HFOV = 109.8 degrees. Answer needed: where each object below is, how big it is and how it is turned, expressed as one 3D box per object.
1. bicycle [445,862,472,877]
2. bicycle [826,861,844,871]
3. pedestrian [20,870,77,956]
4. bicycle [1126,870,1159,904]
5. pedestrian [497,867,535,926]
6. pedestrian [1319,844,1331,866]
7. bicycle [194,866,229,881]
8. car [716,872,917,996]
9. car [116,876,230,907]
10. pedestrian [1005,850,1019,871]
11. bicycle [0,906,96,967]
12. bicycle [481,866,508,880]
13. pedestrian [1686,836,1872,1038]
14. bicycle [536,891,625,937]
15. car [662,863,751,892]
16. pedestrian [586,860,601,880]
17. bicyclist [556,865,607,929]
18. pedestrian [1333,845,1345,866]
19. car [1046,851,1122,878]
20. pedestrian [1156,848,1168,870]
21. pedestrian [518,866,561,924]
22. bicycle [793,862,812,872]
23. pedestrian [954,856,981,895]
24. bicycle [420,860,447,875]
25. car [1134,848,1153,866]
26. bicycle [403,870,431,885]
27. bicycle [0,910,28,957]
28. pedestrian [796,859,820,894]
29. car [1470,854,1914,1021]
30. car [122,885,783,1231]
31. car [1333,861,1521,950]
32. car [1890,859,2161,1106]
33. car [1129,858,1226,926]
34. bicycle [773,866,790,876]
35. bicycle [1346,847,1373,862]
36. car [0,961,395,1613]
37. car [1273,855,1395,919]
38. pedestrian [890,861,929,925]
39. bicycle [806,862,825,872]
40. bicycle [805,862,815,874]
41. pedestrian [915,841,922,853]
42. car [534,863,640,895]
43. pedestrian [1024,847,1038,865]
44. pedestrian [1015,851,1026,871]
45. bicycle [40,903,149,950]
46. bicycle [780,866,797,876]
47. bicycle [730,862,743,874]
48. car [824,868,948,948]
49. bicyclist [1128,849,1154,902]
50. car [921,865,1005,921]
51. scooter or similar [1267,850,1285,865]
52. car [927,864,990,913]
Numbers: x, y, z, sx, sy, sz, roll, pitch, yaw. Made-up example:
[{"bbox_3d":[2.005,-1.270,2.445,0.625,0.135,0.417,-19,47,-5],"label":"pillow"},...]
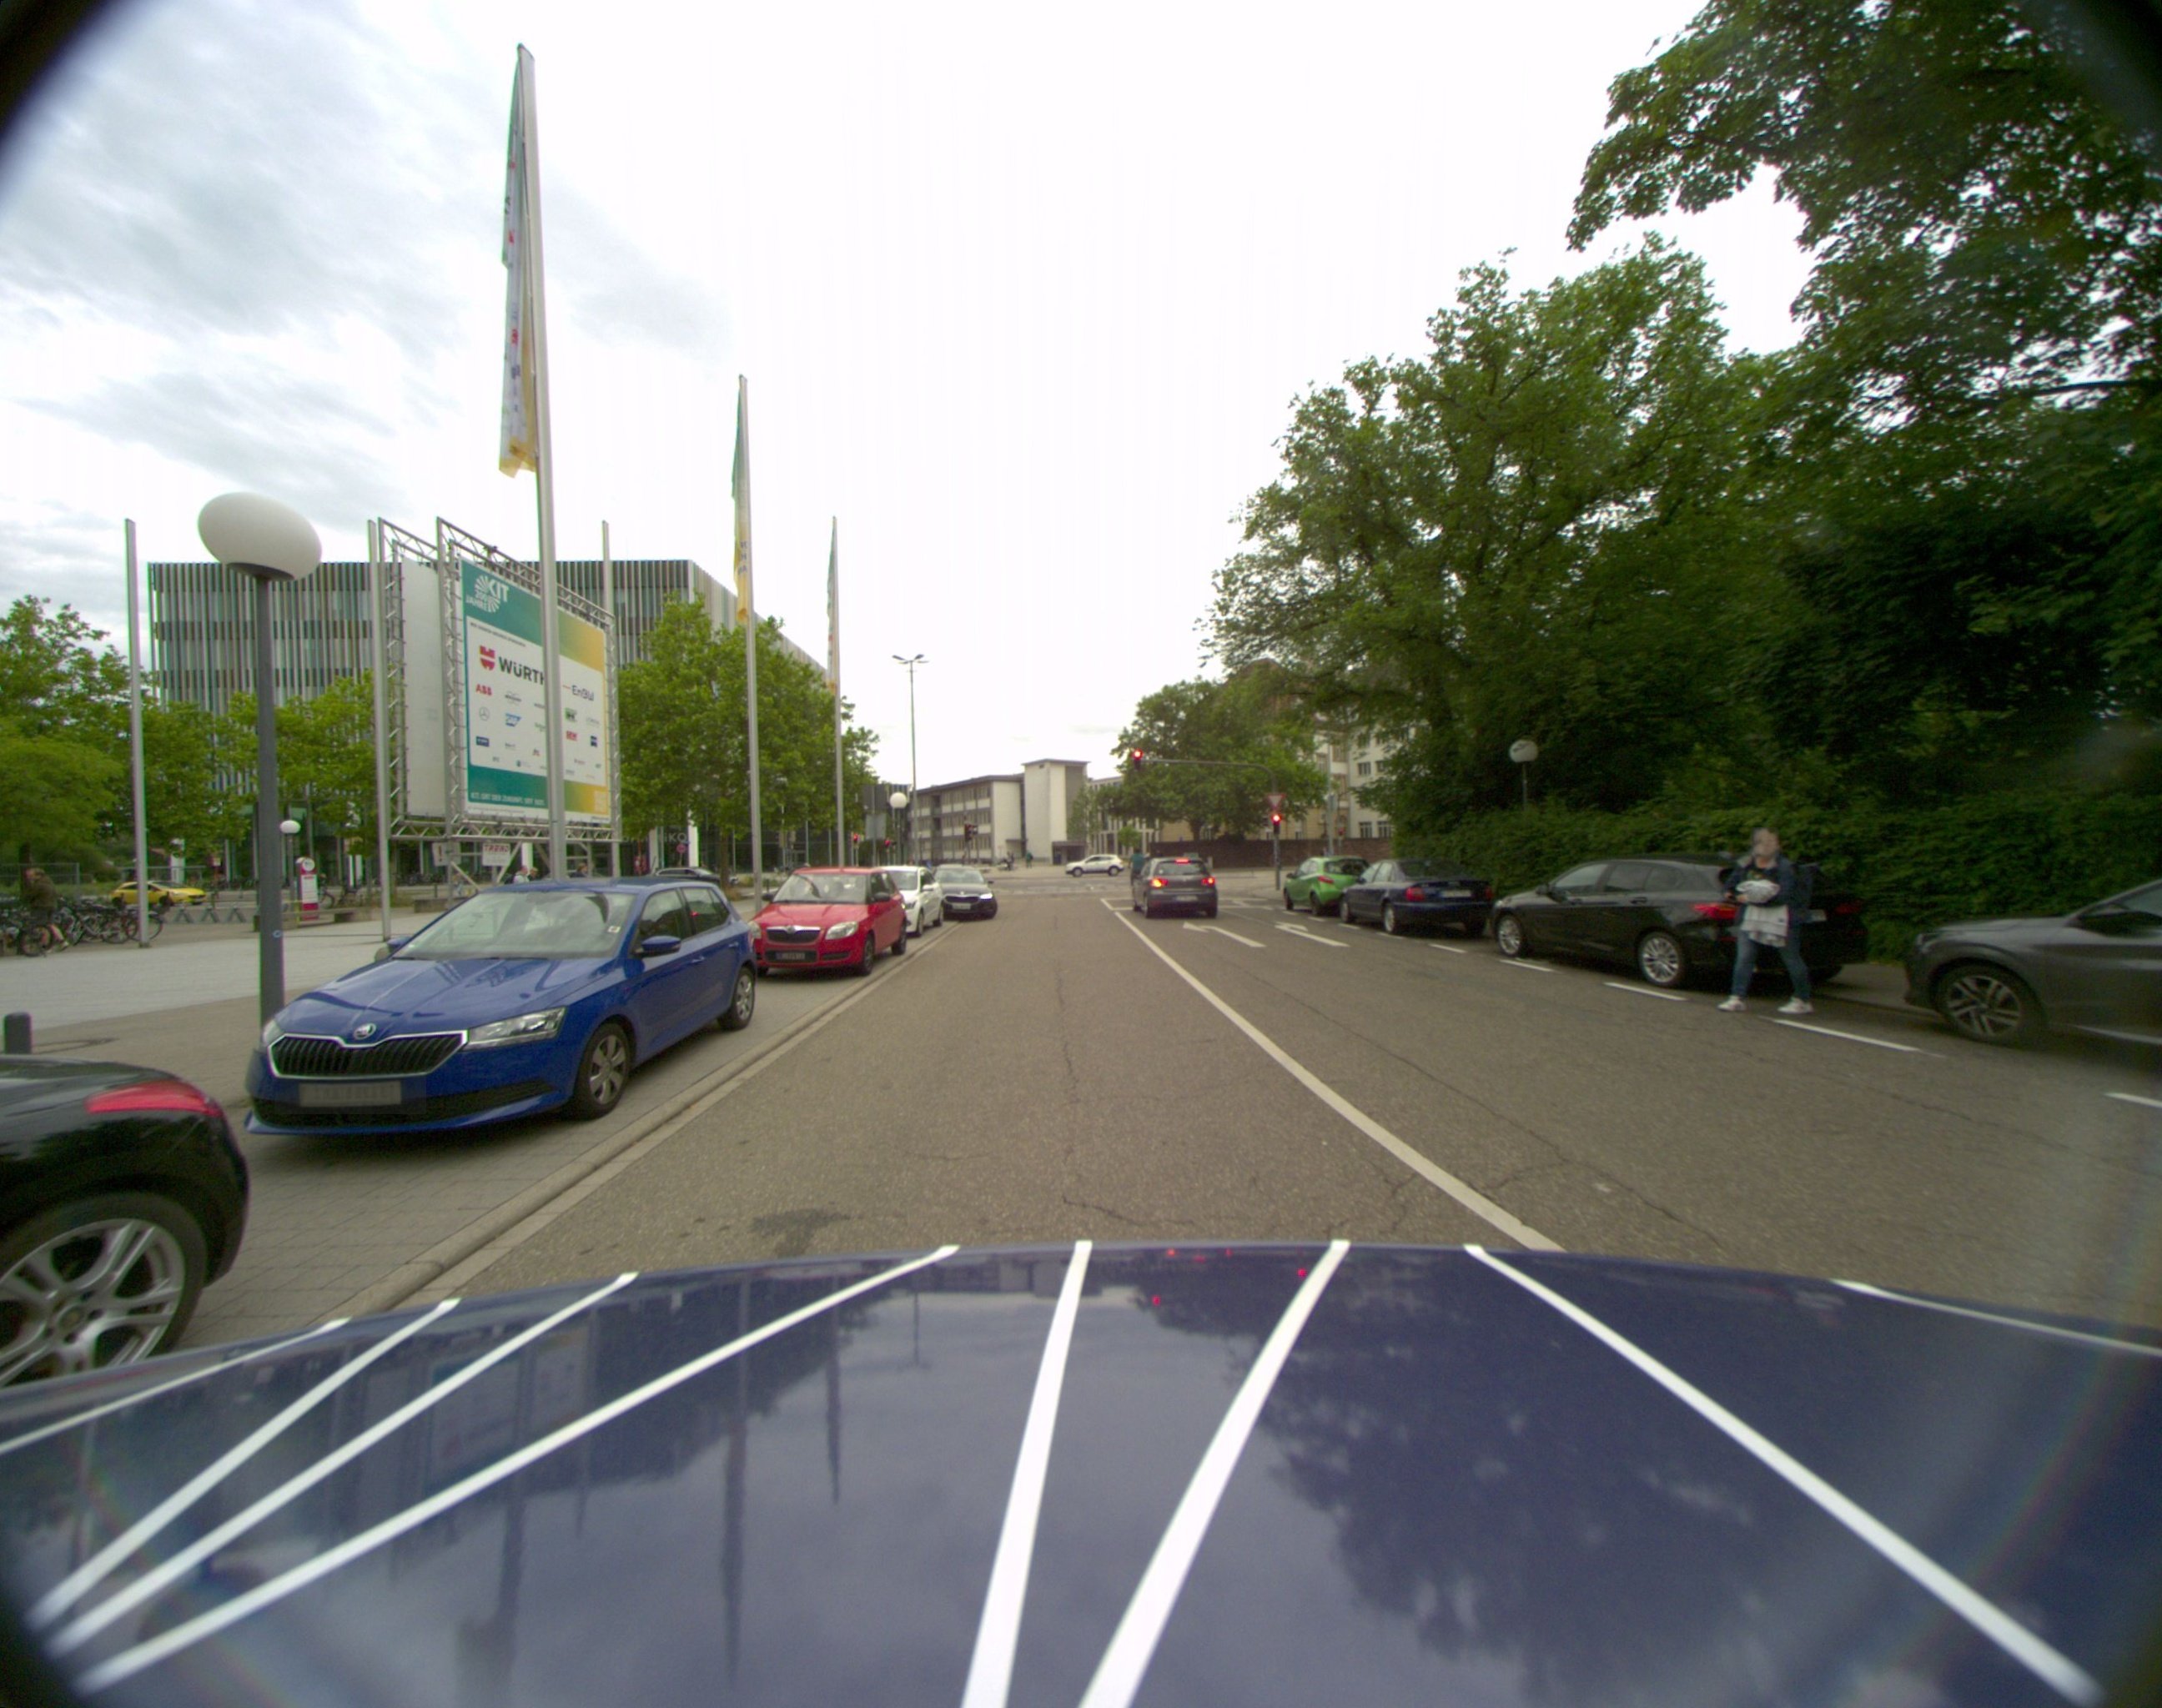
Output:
[{"bbox_3d":[-54.296,1.368,66.283,0.628,1.251,2.104,-3,-2,-4],"label":"bicycle"},{"bbox_3d":[-24.267,1.161,74.951,2.004,0.931,0.485,0,2,30],"label":"bicycle"},{"bbox_3d":[-22.816,1.281,16.803,0.510,1.823,0.675,0,1,38],"label":"pedestrian"},{"bbox_3d":[2.075,1.105,25.794,0.659,1.031,1.856,-1,1,-9],"label":"bicycle"},{"bbox_3d":[-16.799,1.260,22.603,0.657,1.705,0.586,-1,1,13],"label":"pedestrian"},{"bbox_3d":[19.720,0.087,61.360,0.670,1.729,0.735,-1,2,-5],"label":"pedestrian"},{"bbox_3d":[-74.244,1.651,64.922,0.628,1.251,2.104,-3,-2,-4],"label":"bicycle"},{"bbox_3d":[-3.769,1.058,11.662,1.717,1.464,4.273,1,0,-2],"label":"car"},{"bbox_3d":[-52.653,2.144,44.116,4.190,1.608,2.000,-2,0,1],"label":"car"},{"bbox_3d":[-6.050,0.557,66.699,0.848,1.778,0.892,-2,1,-44],"label":"pedestrian"},{"bbox_3d":[-21.738,1.682,15.462,0.457,1.162,2.413,-2,-2,-6],"label":"bicycle"},{"bbox_3d":[-51.354,1.673,66.504,0.628,1.251,2.105,-3,-2,3],"label":"bicycle"},{"bbox_3d":[6.123,0.686,6.734,0.740,1.652,0.968,-1,0,0],"label":"pedestrian"},{"bbox_3d":[-13.471,1.583,20.496,0.874,1.087,1.805,-2,0,40],"label":"bicycle"},{"bbox_3d":[-22.240,1.365,45.252,4.290,1.481,1.999,-2,1,-2],"label":"car"},{"bbox_3d":[-44.663,1.467,69.631,0.762,1.778,0.802,-1,1,-1],"label":"pedestrian"},{"bbox_3d":[-13.476,1.144,20.498,0.874,1.631,0.870,-2,0,40],"label":"bicyclist"},{"bbox_3d":[20.717,0.094,61.081,0.642,1.684,0.779,-2,2,-5],"label":"pedestrian"},{"bbox_3d":[0.186,0.783,56.102,5.372,1.687,2.047,-2,-2,-6],"label":"car"},{"bbox_3d":[6.616,0.412,62.079,0.809,1.654,0.791,-2,-3,-7],"label":"pedestrian"},{"bbox_3d":[-16.773,1.255,23.552,0.672,1.706,0.679,-3,2,9],"label":"pedestrian"},{"bbox_3d":[-26.460,1.245,72.127,2.004,0.931,0.485,0,2,30],"label":"bicycle"},{"bbox_3d":[-4.778,0.894,31.952,1.044,1.610,0.657,-2,1,-14],"label":"pedestrian"},{"bbox_3d":[-56.418,1.190,66.181,0.628,1.251,2.104,-3,-2,-4],"label":"bicycle"},{"bbox_3d":[8.243,0.447,100.345,1.998,1.570,4.411,-9,-8,8],"label":"car"},{"bbox_3d":[-57.468,2.048,65.771,0.628,1.251,2.103,-1,0,-3],"label":"bicycle"},{"bbox_3d":[-24.599,1.817,16.775,0.457,1.043,1.933,-1,0,-16],"label":"bicycle"},{"bbox_3d":[-13.172,1.076,36.700,0.756,1.617,0.794,-1,1,12],"label":"pedestrian"},{"bbox_3d":[7.003,0.811,9.520,1.802,1.551,4.529,-1,0,-2],"label":"car"},{"bbox_3d":[-3.834,1.054,5.831,1.700,1.403,4.374,-1,0,-5],"label":"car"},{"bbox_3d":[6.513,0.885,14.891,1.802,1.400,4.336,-1,0,2],"label":"car"},{"bbox_3d":[7.503,0.799,4.280,1.766,1.463,3.823,-1,0,-2],"label":"car"},{"bbox_3d":[2.358,0.882,19.563,1.788,1.488,4.166,-1,0,-2],"label":"car"},{"bbox_3d":[-28.066,1.598,71.104,2.004,0.930,0.485,-1,1,38],"label":"bicycle"},{"bbox_3d":[23.551,0.024,64.255,2.156,1.178,0.582,-1,2,-10],"label":"bicycle"},{"bbox_3d":[-3.515,1.100,0.661,1.853,1.433,4.419,-2,-1,-1],"label":"car"},{"bbox_3d":[6.561,0.790,20.192,1.802,1.461,4.248,-1,0,0],"label":"car"},{"bbox_3d":[-4.951,1.120,21.987,0.792,1.777,0.822,-1,1,10],"label":"pedestrian"},{"bbox_3d":[-25.545,1.238,73.121,2.004,0.931,0.485,0,2,30],"label":"bicycle"},{"bbox_3d":[-23.324,1.191,65.408,0.484,1.039,1.779,-2,1,-30],"label":"bicycle"},{"bbox_3d":[-24.592,-1.004,114.805,0.777,1.778,0.759,-2,1,-34],"label":"pedestrian"},{"bbox_3d":[-29.348,1.487,45.258,4.837,1.653,1.999,-2,0,-3],"label":"car"},{"bbox_3d":[-4.765,0.226,72.799,0.949,1.705,0.907,-1,1,23],"label":"pedestrian"},{"bbox_3d":[-5.200,0.606,64.859,0.623,1.656,0.619,-2,1,44],"label":"pedestrian"},{"bbox_3d":[-25.640,1.869,19.798,0.457,1.043,1.934,-1,0,-6],"label":"bicycle"},{"bbox_3d":[-27.560,1.594,71.647,2.004,0.930,0.550,-1,1,38],"label":"bicycle"},{"bbox_3d":[-31.232,1.301,68.853,0.485,1.039,1.911,-2,2,-41],"label":"bicycle"},{"bbox_3d":[-4.209,1.105,17.028,1.865,1.444,3.858,-2,0,-2],"label":"car"},{"bbox_3d":[2.059,0.731,26.081,0.659,1.769,0.983,-1,1,-9],"label":"bicyclist"},{"bbox_3d":[-3.511,1.059,21.873,1.868,1.393,4.472,1,0,-16],"label":"car"},{"bbox_3d":[16.374,0.276,63.710,1.410,1.223,0.495,-1,3,17],"label":"scooter or similar"},{"bbox_3d":[-4.264,1.161,26.991,1.626,1.493,4.104,1,1,-1],"label":"car"}]
